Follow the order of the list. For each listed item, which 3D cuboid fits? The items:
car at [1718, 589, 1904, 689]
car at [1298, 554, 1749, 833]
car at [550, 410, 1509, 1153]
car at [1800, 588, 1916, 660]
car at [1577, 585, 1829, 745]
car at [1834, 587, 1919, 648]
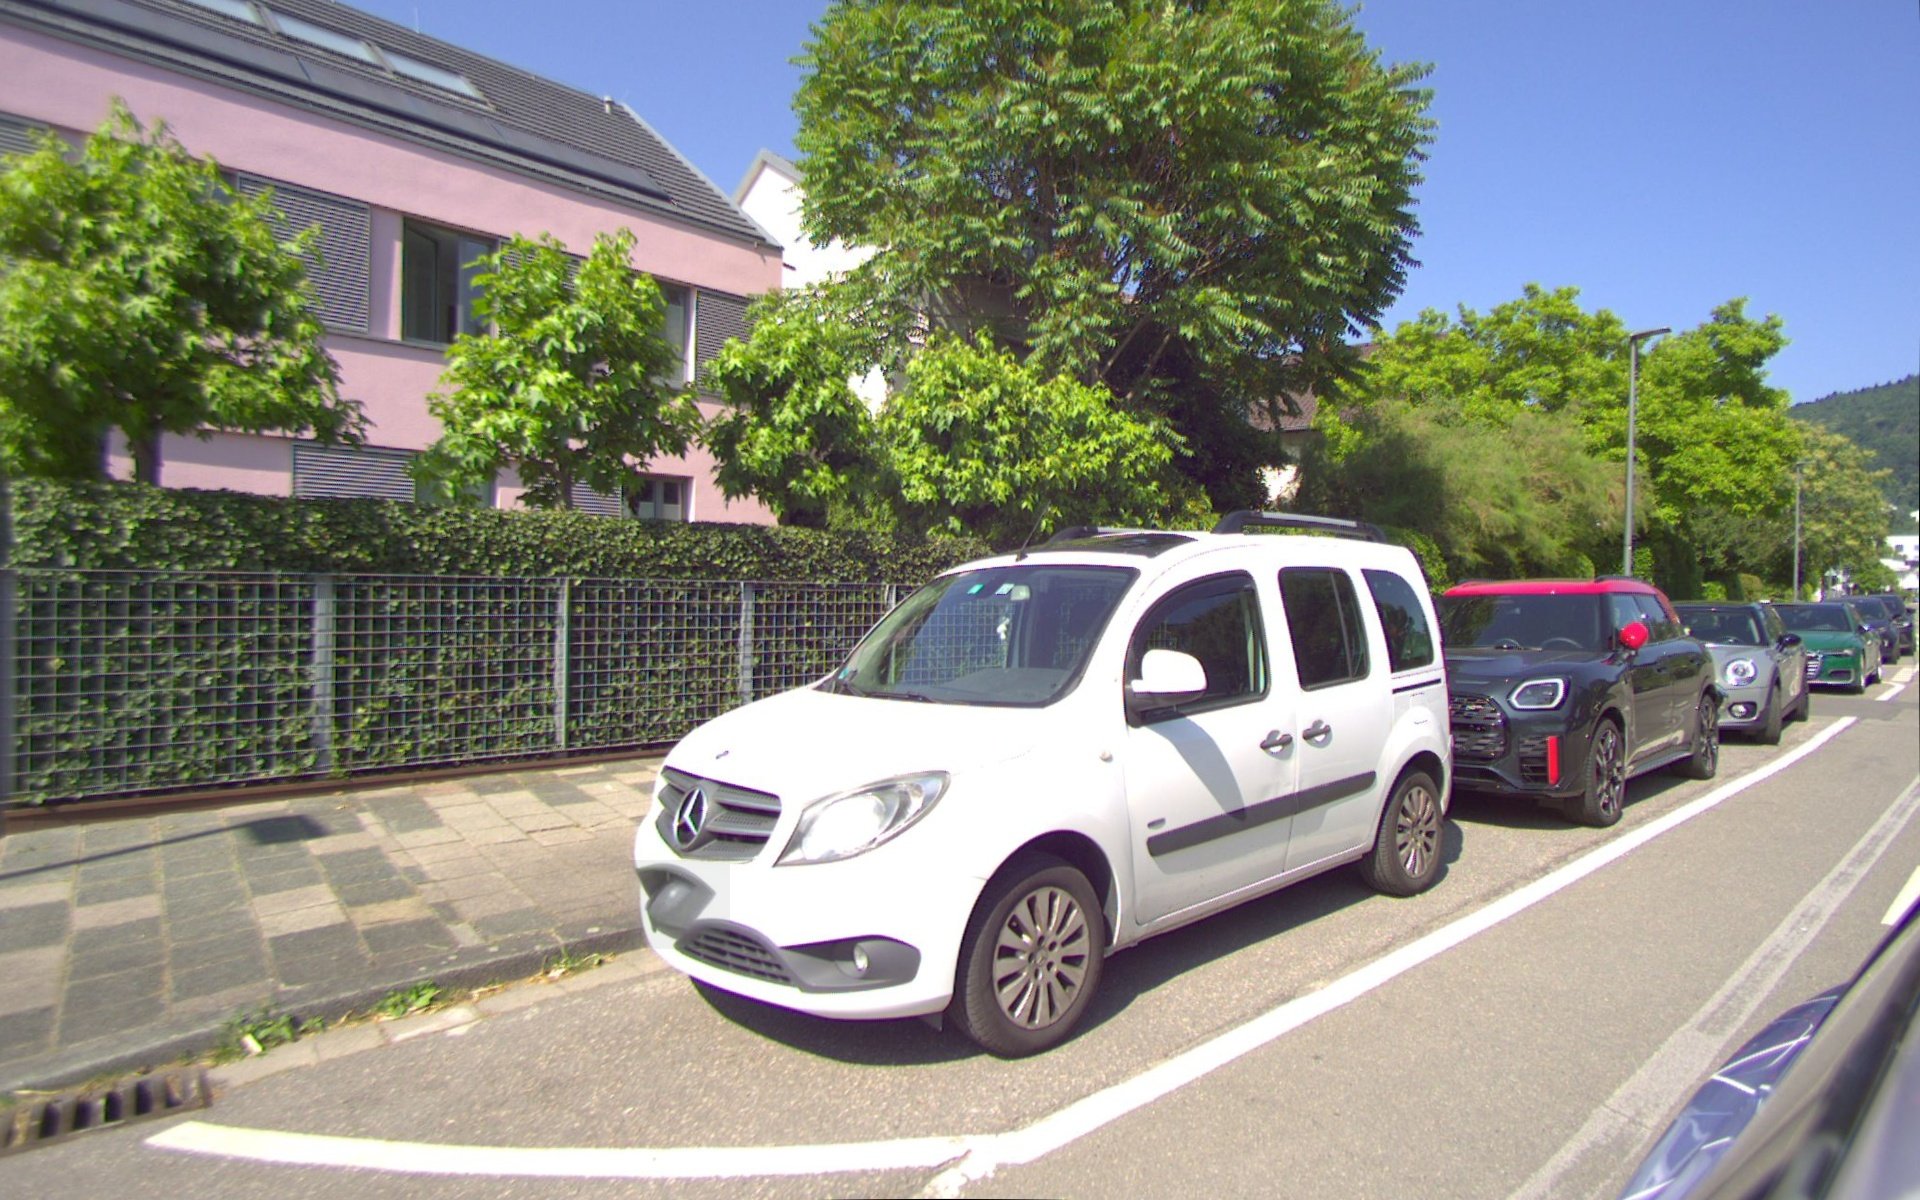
[{"bbox_3d":[14.598,0.606,17.263,4.706,1.482,1.814,1,-2,-43],"label":"car"},{"bbox_3d":[4.570,0.531,7.913,4.238,1.613,1.765,1,1,-41],"label":"car"},{"bbox_3d":[0.713,0.423,4.692,4.519,1.850,1.765,-1,0,-42],"label":"car"},{"bbox_3d":[21.803,0.578,24.532,1.812,1.579,3.853,-4,-3,45],"label":"car"},{"bbox_3d":[8.687,0.619,11.698,1.763,1.461,4.003,3,2,44],"label":"car"},{"bbox_3d":[25.670,0.471,28.049,4.524,1.579,1.813,0,-1,-44],"label":"car"}]
